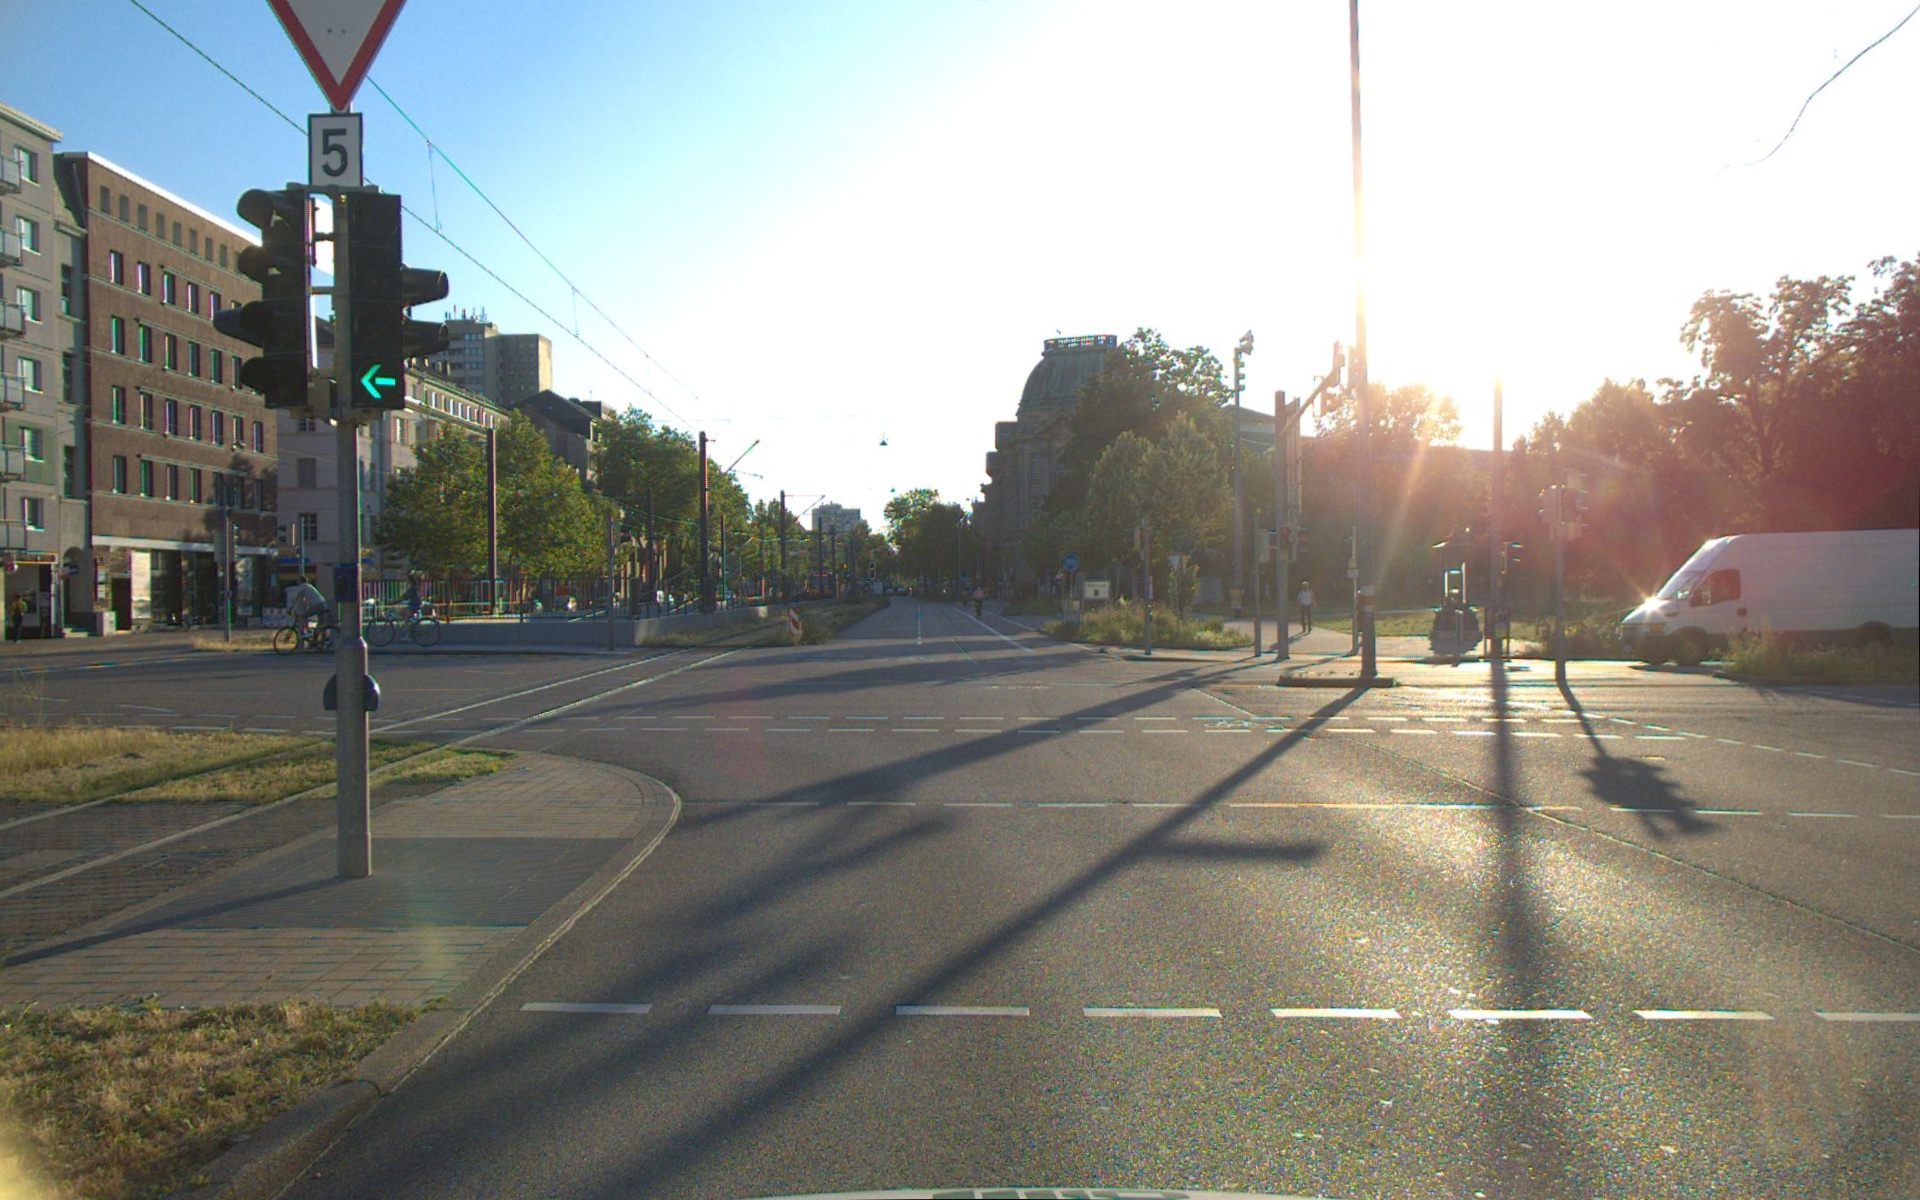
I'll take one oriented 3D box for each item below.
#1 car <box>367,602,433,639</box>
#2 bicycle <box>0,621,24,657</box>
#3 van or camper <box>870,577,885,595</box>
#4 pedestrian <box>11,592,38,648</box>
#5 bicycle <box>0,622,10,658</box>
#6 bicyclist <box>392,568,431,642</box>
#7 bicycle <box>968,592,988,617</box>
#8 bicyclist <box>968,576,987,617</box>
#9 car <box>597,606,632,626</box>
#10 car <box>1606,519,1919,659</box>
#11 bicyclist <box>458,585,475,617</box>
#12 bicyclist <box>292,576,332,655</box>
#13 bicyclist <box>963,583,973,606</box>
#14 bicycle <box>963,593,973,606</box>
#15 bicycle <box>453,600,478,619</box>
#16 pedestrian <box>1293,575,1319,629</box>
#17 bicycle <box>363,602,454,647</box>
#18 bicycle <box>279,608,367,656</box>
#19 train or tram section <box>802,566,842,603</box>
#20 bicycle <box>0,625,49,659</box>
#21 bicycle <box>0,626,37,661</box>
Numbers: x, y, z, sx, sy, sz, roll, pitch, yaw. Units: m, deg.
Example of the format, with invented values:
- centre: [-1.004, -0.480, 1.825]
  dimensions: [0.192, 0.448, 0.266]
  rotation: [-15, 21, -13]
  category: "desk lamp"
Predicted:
- centre: [-27.199, 0.979, 80.439]
  dimensions: [1.654, 1.646, 4.001]
  rotation: [-2, 0, 2]
  category: "car"
- centre: [-32.862, 1.335, 56.238]
  dimensions: [1.655, 1.199, 0.748]
  rotation: [-1, 0, 1]
  category: "bicycle"
- centre: [-13.008, -2.263, 261.670]
  dimensions: [2.400, 2.819, 5.598]
  rotation: [-1, 0, -3]
  category: "van or camper"
- centre: [-36.751, 0.779, 64.997]
  dimensions: [0.589, 2.216, 0.792]
  rotation: [-1, 0, -1]
  category: "pedestrian"
- centre: [-32.891, 1.344, 55.475]
  dimensions: [1.655, 1.173, 0.705]
  rotation: [-1, 0, 1]
  category: "bicycle"
- centre: [-13.832, 0.130, 41.723]
  dimensions: [0.860, 1.850, 0.536]
  rotation: [-1, 0, -10]
  category: "bicyclist"
- centre: [1.000, 0.252, 94.077]
  dimensions: [1.075, 1.423, 2.831]
  rotation: [-1, 0, -1]
  category: "bicycle"
- centre: [0.987, -0.194, 94.090]
  dimensions: [1.060, 2.316, 0.986]
  rotation: [0, 0, -1]
  category: "bicyclist"
- centre: [-27.495, 1.249, 131.754]
  dimensions: [1.781, 1.445, 4.002]
  rotation: [-1, 0, 3]
  category: "car"
- centre: [17.821, -0.237, 35.780]
  dimensions: [6.866, 2.877, 2.093]
  rotation: [-1, 0, 1]
  category: "car"
- centre: [-31.858, 0.054, 106.875]
  dimensions: [0.780, 2.049, 0.924]
  rotation: [-1, 0, 1]
  category: "bicyclist"
- centre: [-15.419, 0.370, 39.346]
  dimensions: [0.779, 1.850, 0.644]
  rotation: [-1, 0, -14]
  category: "bicyclist"
- centre: [0.705, -0.505, 150.329]
  dimensions: [0.907, 2.049, 0.850]
  rotation: [0, 0, -1]
  category: "bicyclist"
- centre: [0.727, -0.066, 150.388]
  dimensions: [0.905, 1.131, 2.332]
  rotation: [0, 0, -1]
  category: "bicycle"
- centre: [-31.876, 0.601, 106.634]
  dimensions: [0.796, 1.222, 2.413]
  rotation: [-1, 0, 2]
  category: "bicycle"
- centre: [11.928, 0.066, 57.059]
  dimensions: [0.815, 1.835, 0.811]
  rotation: [-1, 0, 14]
  category: "pedestrian"
- centre: [-13.892, 0.612, 41.698]
  dimensions: [2.124, 1.102, 0.537]
  rotation: [0, -1, -10]
  category: "bicycle"
- centre: [-15.169, 0.764, 39.426]
  dimensions: [1.868, 1.094, 0.630]
  rotation: [-1, 0, -13]
  category: "bicycle"
- centre: [-15.446, -1.698, 185.469]
  dimensions: [4.301, 3.917, 11.398]
  rotation: [-1, 0, -5]
  category: "train or tram section"
- centre: [-32.837, 1.463, 57.746]
  dimensions: [1.655, 1.164, 0.697]
  rotation: [-1, 0, 1]
  category: "bicycle"
- centre: [-32.851, 1.509, 57.013]
  dimensions: [1.655, 1.190, 0.748]
  rotation: [-1, 0, 1]
  category: "bicycle"
